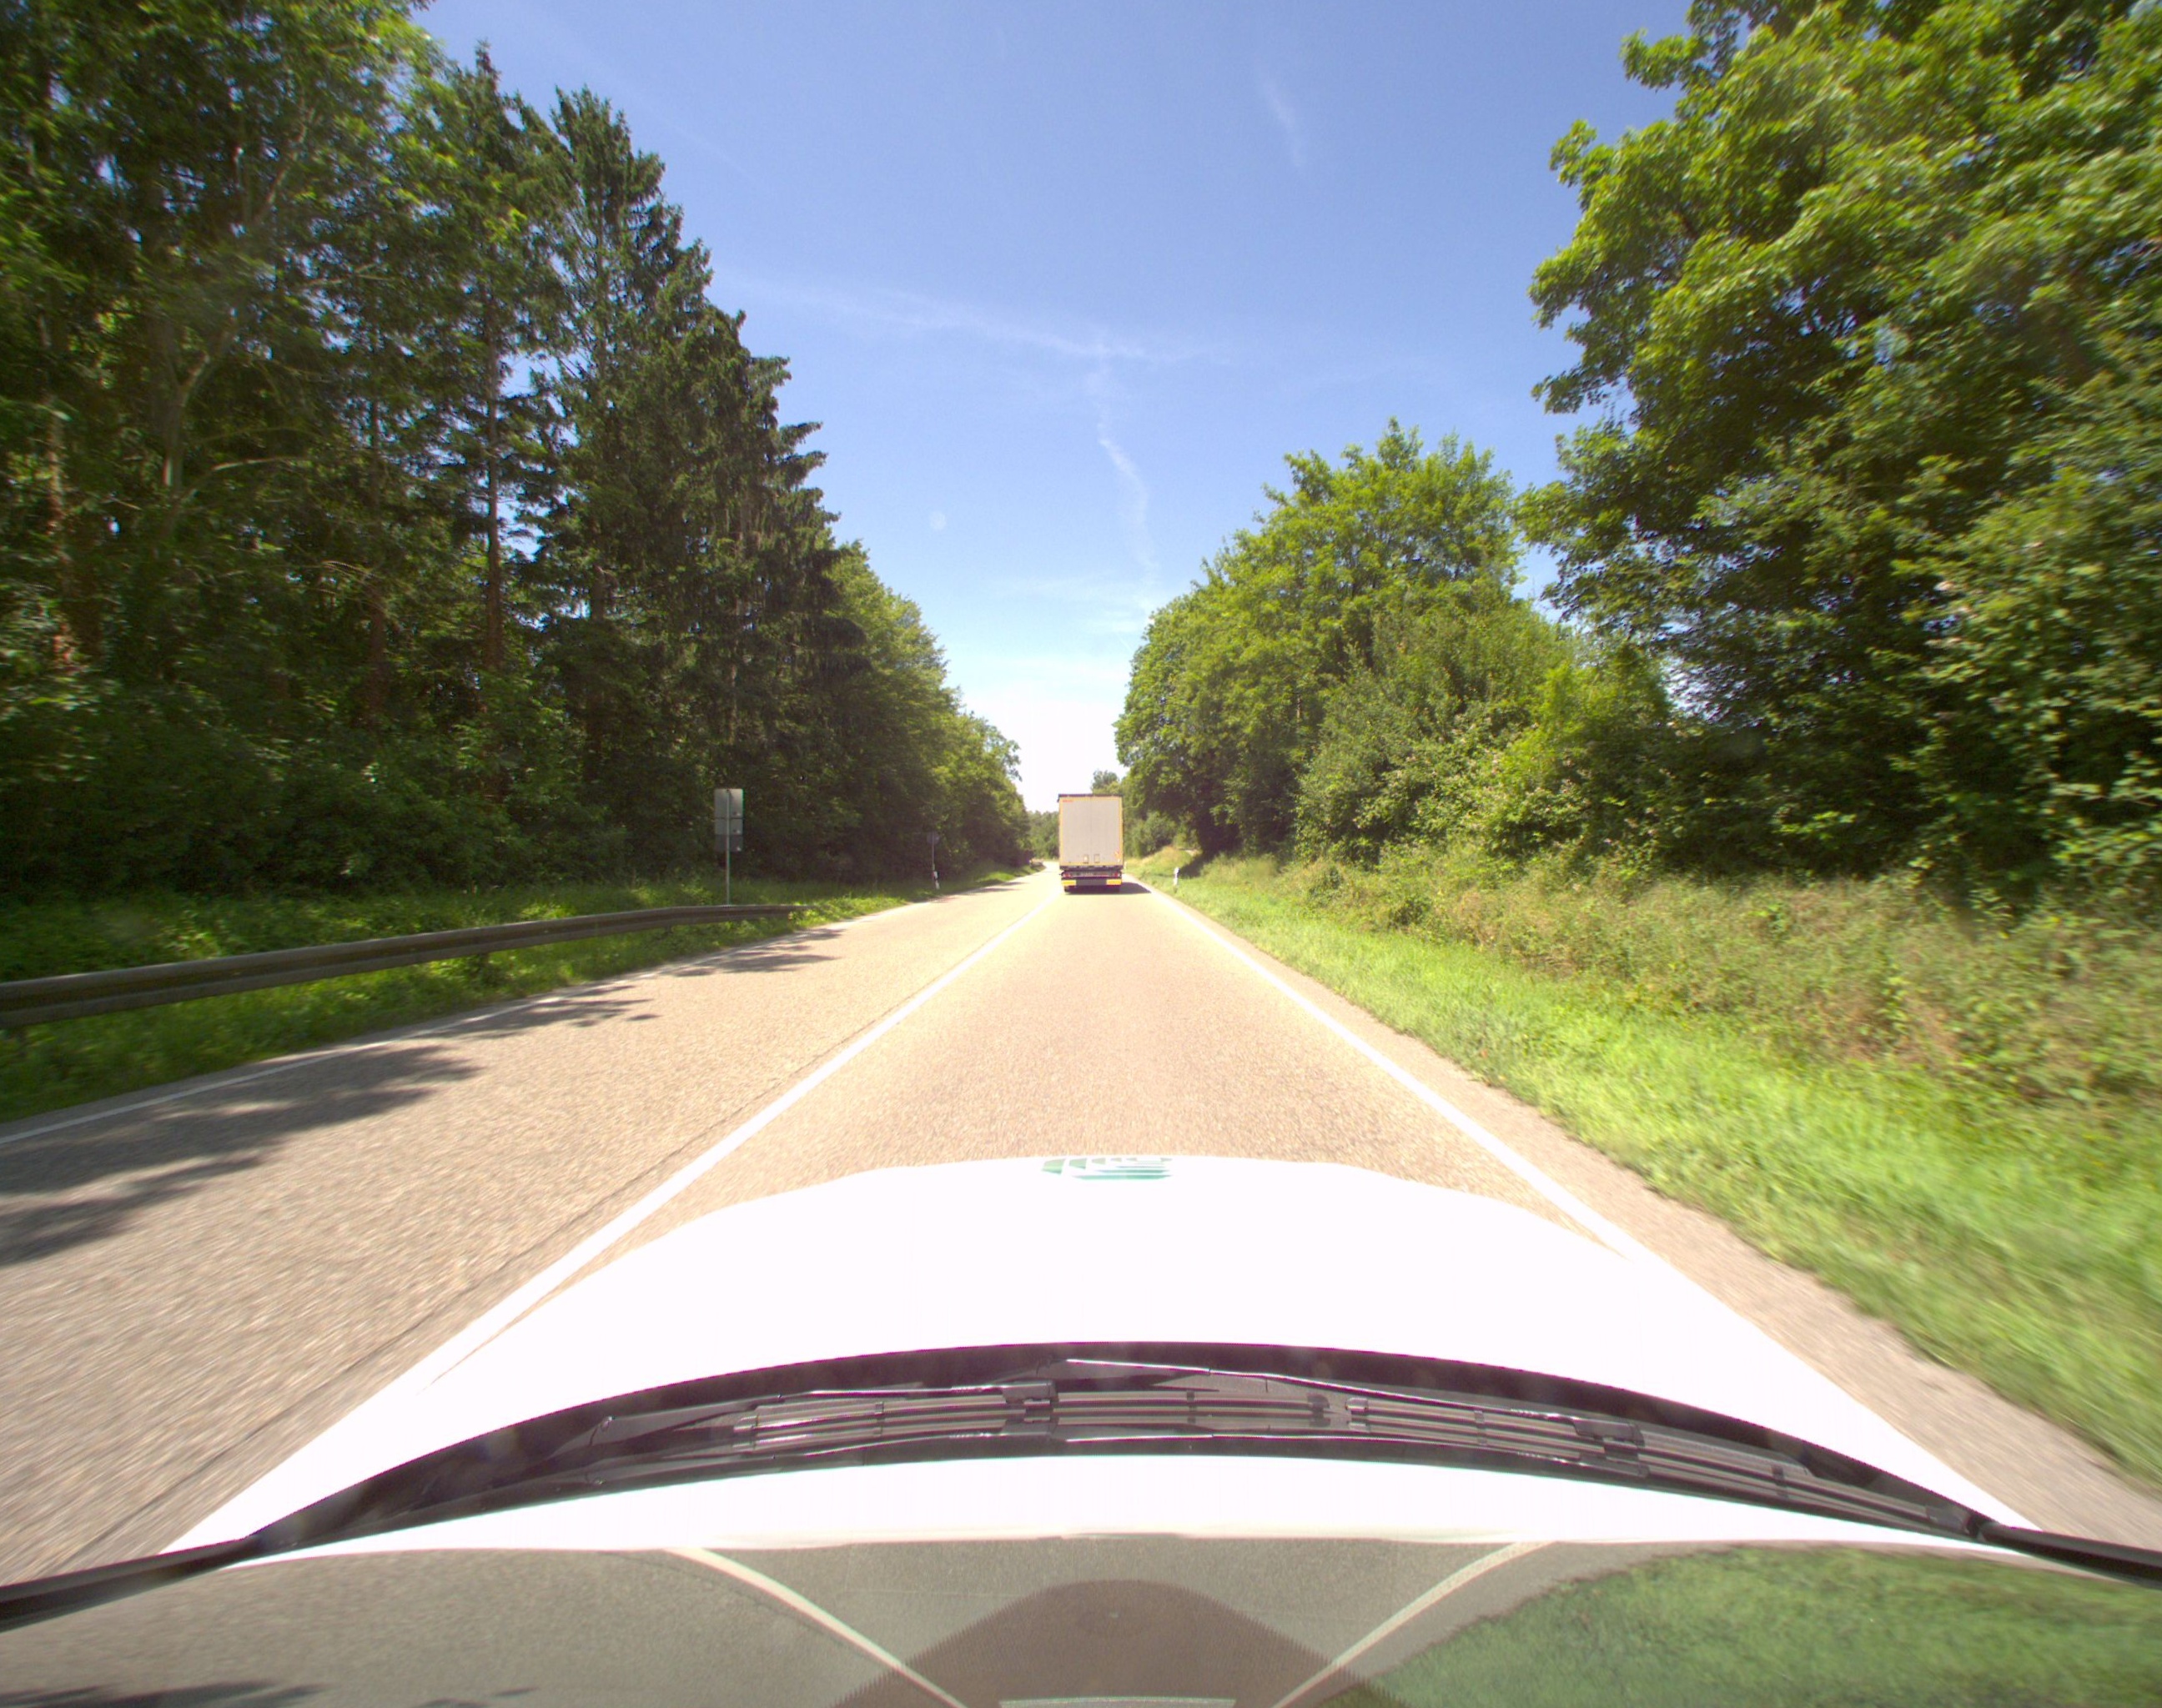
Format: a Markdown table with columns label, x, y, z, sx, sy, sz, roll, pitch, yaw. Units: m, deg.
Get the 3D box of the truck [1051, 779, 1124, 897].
| label | x | y | z | sx | sy | sz | roll | pitch | yaw |
| --- | --- | --- | --- | --- | --- | --- | --- | --- | --- |
| truck | 0.429 | -0.659 | 35.431 | 2.811 | 4.603 | 6.670 | -1 | 0 | 3 |
